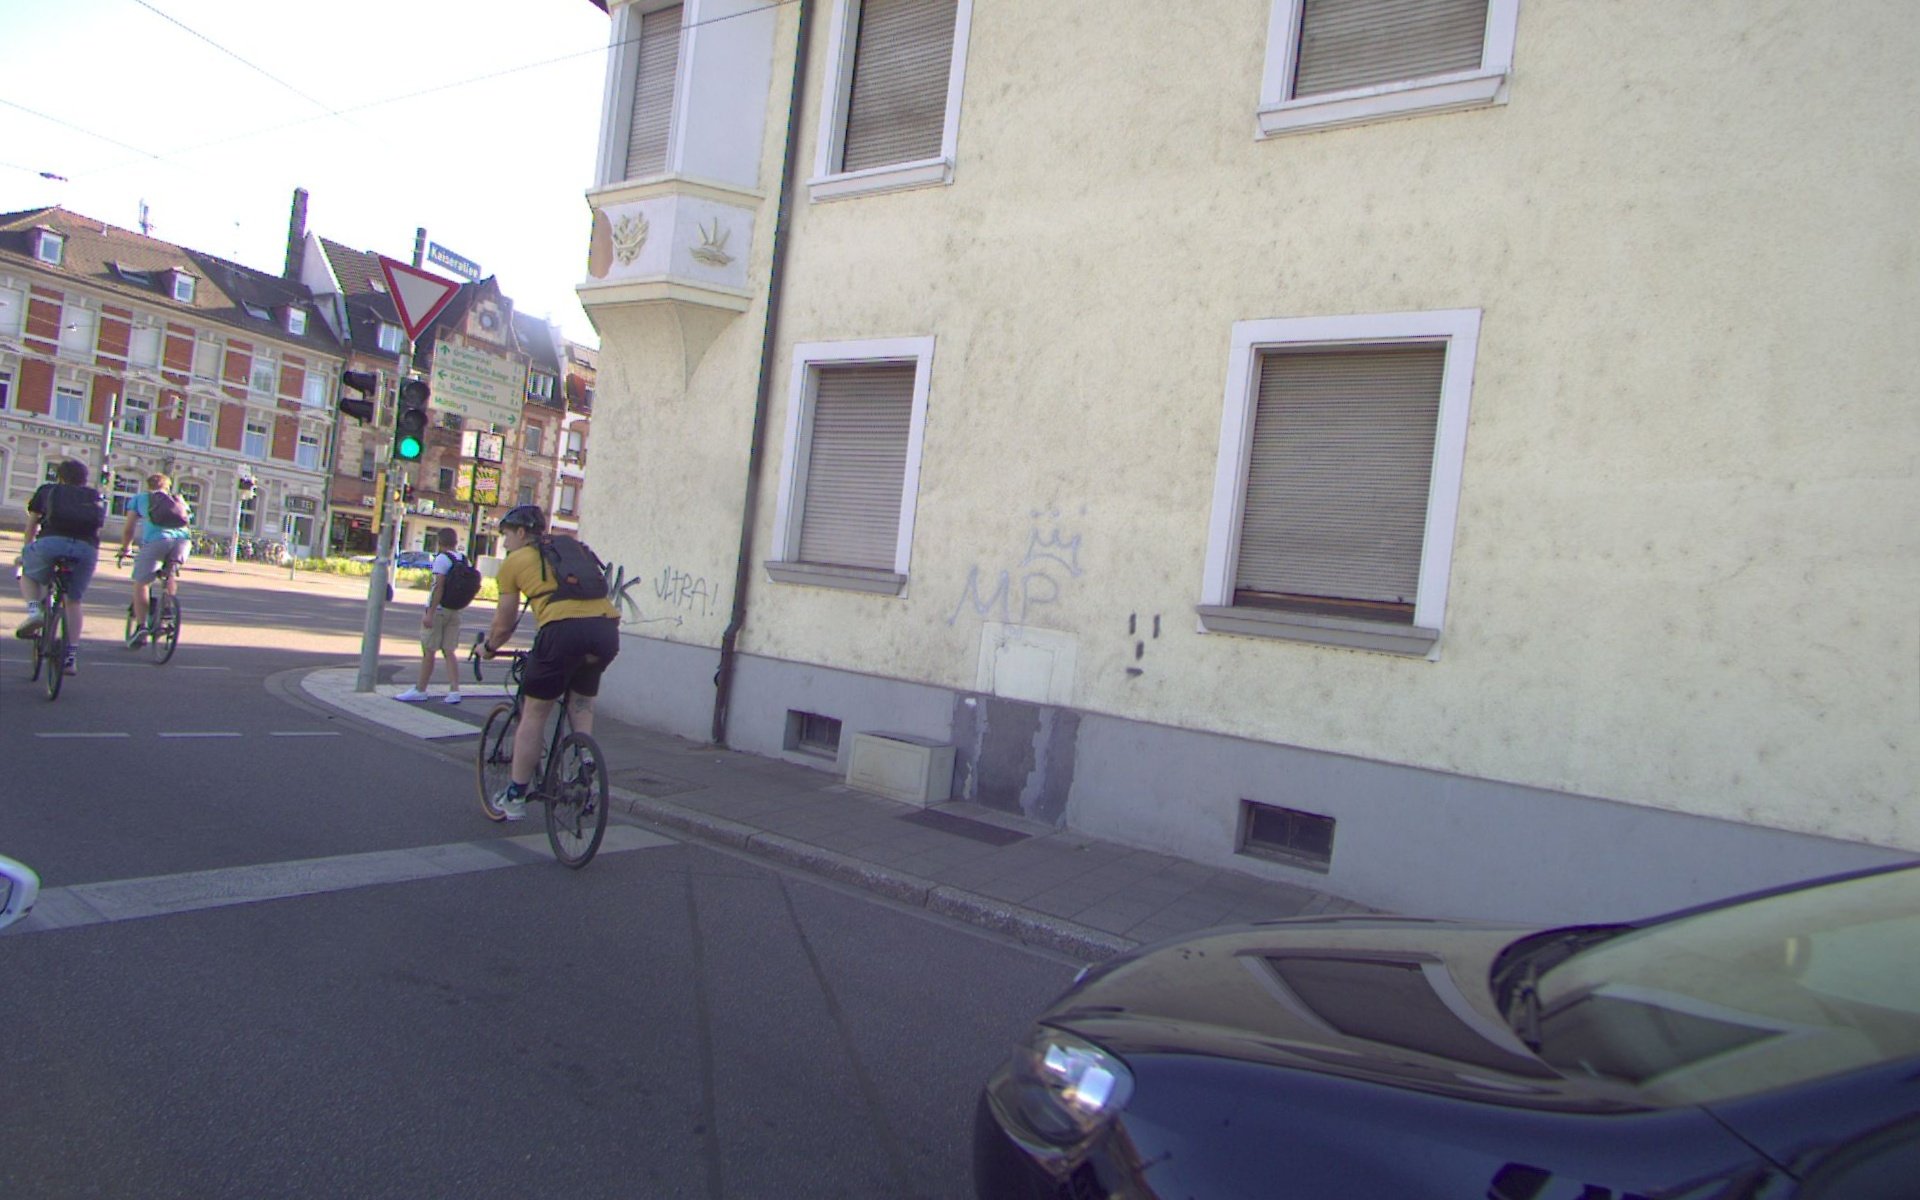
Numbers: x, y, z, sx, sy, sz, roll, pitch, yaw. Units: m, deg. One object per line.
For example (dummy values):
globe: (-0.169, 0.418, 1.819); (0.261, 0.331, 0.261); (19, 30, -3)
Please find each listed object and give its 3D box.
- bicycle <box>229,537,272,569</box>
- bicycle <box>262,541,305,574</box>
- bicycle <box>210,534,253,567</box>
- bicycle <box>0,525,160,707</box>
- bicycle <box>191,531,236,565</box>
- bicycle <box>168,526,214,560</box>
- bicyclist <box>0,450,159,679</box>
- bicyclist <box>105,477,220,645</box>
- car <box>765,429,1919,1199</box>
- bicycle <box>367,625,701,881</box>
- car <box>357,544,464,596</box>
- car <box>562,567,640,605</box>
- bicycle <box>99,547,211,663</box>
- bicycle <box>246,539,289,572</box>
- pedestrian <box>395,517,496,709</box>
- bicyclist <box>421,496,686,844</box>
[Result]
bicycle: (-33.403, -2.220, 47.356); (2.618, 1.301, 0.629); (6, -1, 33)
bicycle: (-32.669, -2.061, 48.575); (2.618, 1.301, 0.629); (6, -1, 33)
bicycle: (-33.819, -2.313, 46.684); (2.618, 1.301, 0.629); (6, -1, 33)
bicycle: (-7.162, 0.092, 7.867); (1.674, 1.251, 0.756); (6, -1, 30)
bicycle: (-34.186, -2.384, 46.060); (2.618, 1.301, 0.693); (6, -1, 33)
bicycle: (-34.641, -2.562, 45.318); (2.618, 1.301, 0.693); (6, -1, 33)
bicyclist: (-6.998, -0.264, 7.803); (0.868, 1.625, 0.807); (7, -1, 30)
bicyclist: (-8.472, -0.412, 10.682); (0.872, 1.652, 0.688); (6, -1, 44)
car: (1.851, 0.773, 1.567); (3.983, 1.525, 1.732); (9, -1, 32)
bicycle: (-2.390, 0.776, 5.583); (1.751, 1.043, 0.756); (6, -2, 33)
car: (-25.510, -1.378, 46.813); (1.967, 1.798, 3.790); (6, -2, 31)
car: (-23.229, -0.873, 65.277); (1.967, 1.798, 4.374); (6, -2, 31)
bicycle: (-8.561, 0.035, 10.676); (1.748, 1.043, 0.648); (6, -2, 45)
bicycle: (-33.039, -2.134, 47.985); (2.618, 1.301, 0.629); (6, -1, 33)
pedestrian: (-4.995, 0.118, 9.790); (0.631, 1.780, 0.584); (4, 3, -7)
bicyclist: (-2.207, 0.358, 5.500); (0.869, 1.682, 0.807); (6, -1, 32)
